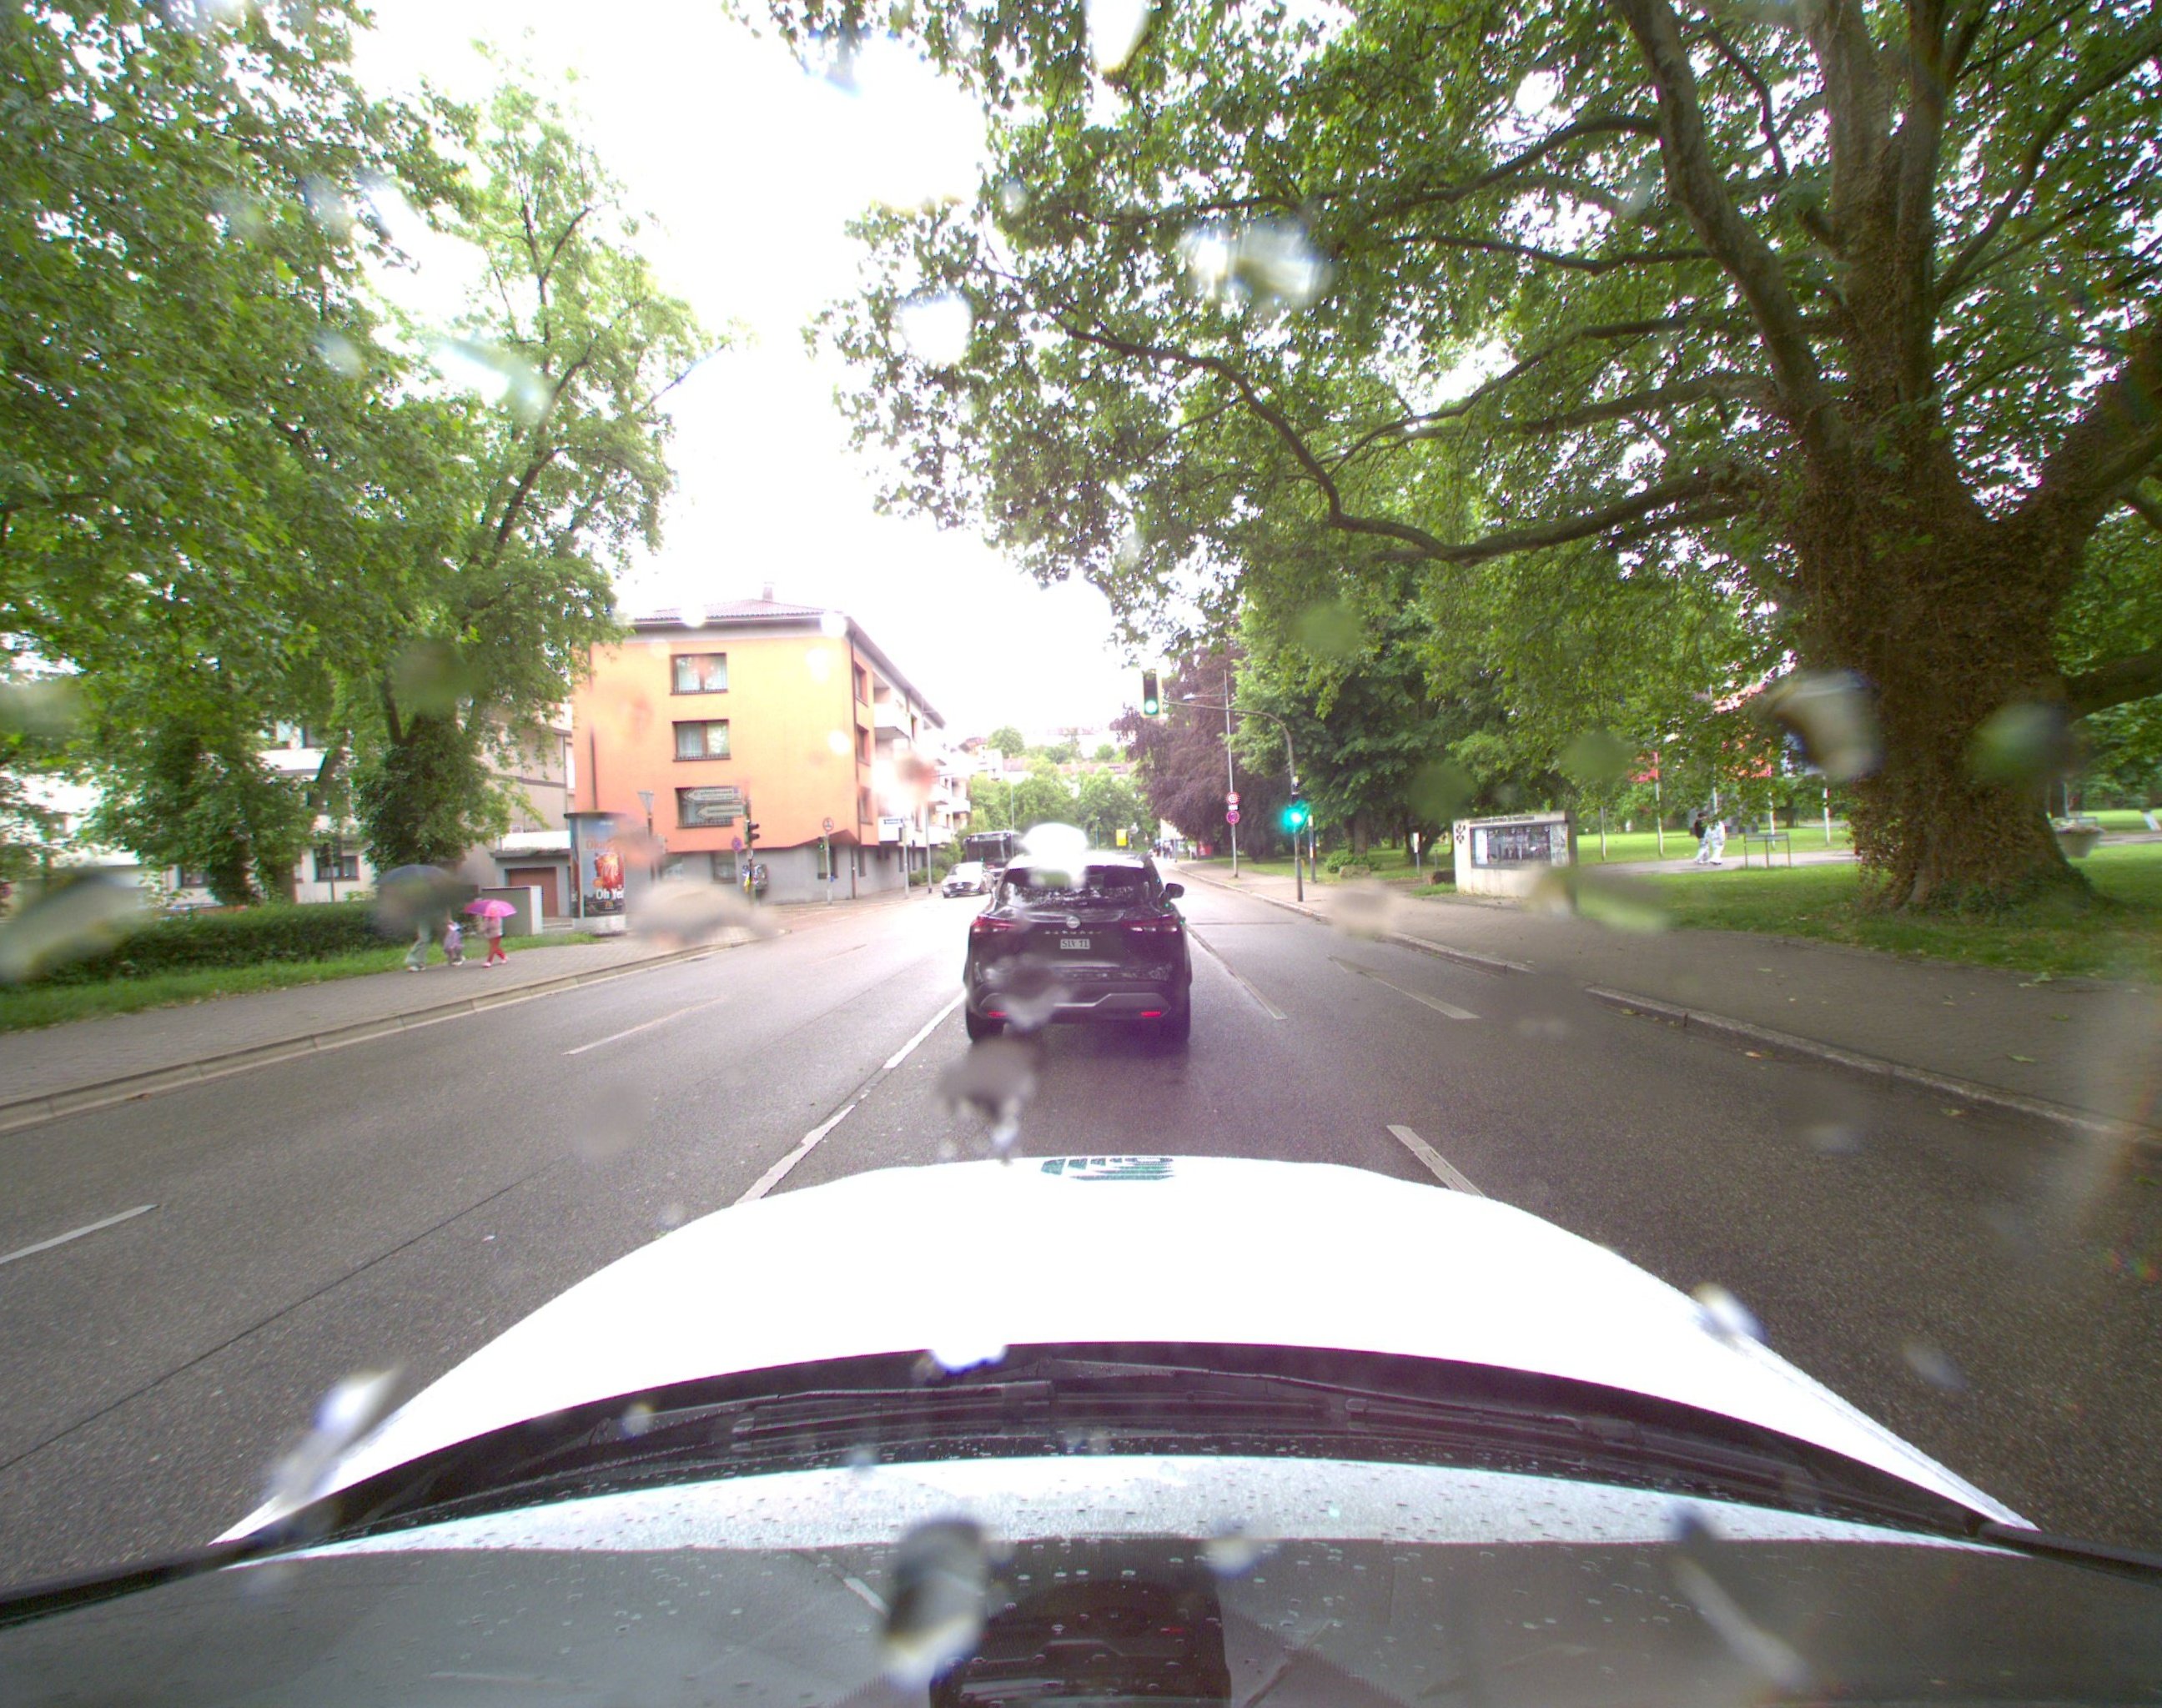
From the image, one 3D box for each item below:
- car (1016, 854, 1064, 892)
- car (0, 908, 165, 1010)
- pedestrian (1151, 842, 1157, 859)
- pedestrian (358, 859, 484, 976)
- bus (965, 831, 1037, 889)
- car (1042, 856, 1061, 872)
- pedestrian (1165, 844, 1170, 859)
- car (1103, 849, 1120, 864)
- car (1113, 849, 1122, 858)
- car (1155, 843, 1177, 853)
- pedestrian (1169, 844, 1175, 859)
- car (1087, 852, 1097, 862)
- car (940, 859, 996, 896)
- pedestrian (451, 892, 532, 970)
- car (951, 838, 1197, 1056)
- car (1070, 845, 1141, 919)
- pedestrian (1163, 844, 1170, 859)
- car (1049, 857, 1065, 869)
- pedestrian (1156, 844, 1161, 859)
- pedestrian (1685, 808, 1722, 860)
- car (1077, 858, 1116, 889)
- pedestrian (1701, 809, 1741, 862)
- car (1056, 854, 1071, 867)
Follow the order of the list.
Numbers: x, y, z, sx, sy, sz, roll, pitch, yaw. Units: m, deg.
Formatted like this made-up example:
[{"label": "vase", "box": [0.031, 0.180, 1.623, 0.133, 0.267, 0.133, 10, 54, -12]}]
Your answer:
[{"label": "car", "box": [-1.657, 0.761, 34.022, 1.618, 1.415, 3.456, -3, 0, 2]}, {"label": "car", "box": [-18.003, 1.743, 13.801, 3.182, 1.524, 1.507, 0, -1, -1]}, {"label": "pedestrian", "box": [9.399, -0.453, 105.319, 0.764, 2.183, 0.712, 0, -1, 5]}, {"label": "pedestrian", "box": [-10.458, 0.968, 12.967, 0.988, 1.742, 1.210, -1, 0, 1]}, {"label": "bus", "box": [-4.650, 0.336, 49.865, 2.756, 2.974, 11.786, -3, 0, 2]}, {"label": "car", "box": [-3.074, 1.033, 85.504, 1.671, 1.469, 4.217, -4, 0, 1]}, {"label": "pedestrian", "box": [9.891, -0.279, 92.868, 0.513, 1.655, 0.550, 0, -1, 1]}, {"label": "car", "box": [3.163, 0.201, 83.266, 1.618, 1.415, 3.456, -3, 0, 2]}, {"label": "car", "box": [7.025, -0.139, 157.002, 1.743, 1.633, 3.636, -3, 0, 2]}, {"label": "car", "box": [17.216, -1.246, 164.177, 3.986, 1.684, 1.994, -3, 0, -9]}, {"label": "pedestrian", "box": [11.171, -0.322, 100.280, 0.616, 1.779, 0.779, -3, 0, 1]}, {"label": "car", "box": [2.015, 0.516, 148.991, 1.757, 1.758, 3.636, -3, 0, 2]}, {"label": "car", "box": [-4.968, 0.998, 36.432, 1.802, 1.417, 4.031, -4, 0, 1]}, {"label": "pedestrian", "box": [-9.520, 1.223, 13.181, 0.681, 1.175, 0.827, -1, 0, 1]}, {"label": "car", "box": [0.012, 0.701, 7.986, 1.799, 1.590, 4.001, 0, -1, 2]}, {"label": "car", "box": [0.705, 0.670, 21.678, 1.615, 1.709, 3.774, -3, 0, 3]}, {"label": "pedestrian", "box": [9.915, -0.293, 94.552, 0.696, 1.651, 0.628, 0, -1, 2]}, {"label": "car", "box": [-2.793, 1.021, 97.318, 1.671, 1.296, 3.752, -4, 0, 1]}, {"label": "pedestrian", "box": [9.036, -0.286, 94.596, 0.542, 1.651, 0.490, 0, -1, 2]}, {"label": "pedestrian", "box": [21.410, -0.678, 28.015, 0.663, 1.756, 0.722, 0, -1, -7]}, {"label": "car", "box": [0.772, 0.929, 41.194, 1.802, 1.417, 4.031, -2, 0, 1]}, {"label": "pedestrian", "box": [21.200, -0.603, 26.993, 0.663, 1.712, 0.788, 0, -1, -7]}, {"label": "car", "box": [-2.386, 0.868, 109.676, 1.743, 1.633, 3.636, -3, 0, 2]}]
